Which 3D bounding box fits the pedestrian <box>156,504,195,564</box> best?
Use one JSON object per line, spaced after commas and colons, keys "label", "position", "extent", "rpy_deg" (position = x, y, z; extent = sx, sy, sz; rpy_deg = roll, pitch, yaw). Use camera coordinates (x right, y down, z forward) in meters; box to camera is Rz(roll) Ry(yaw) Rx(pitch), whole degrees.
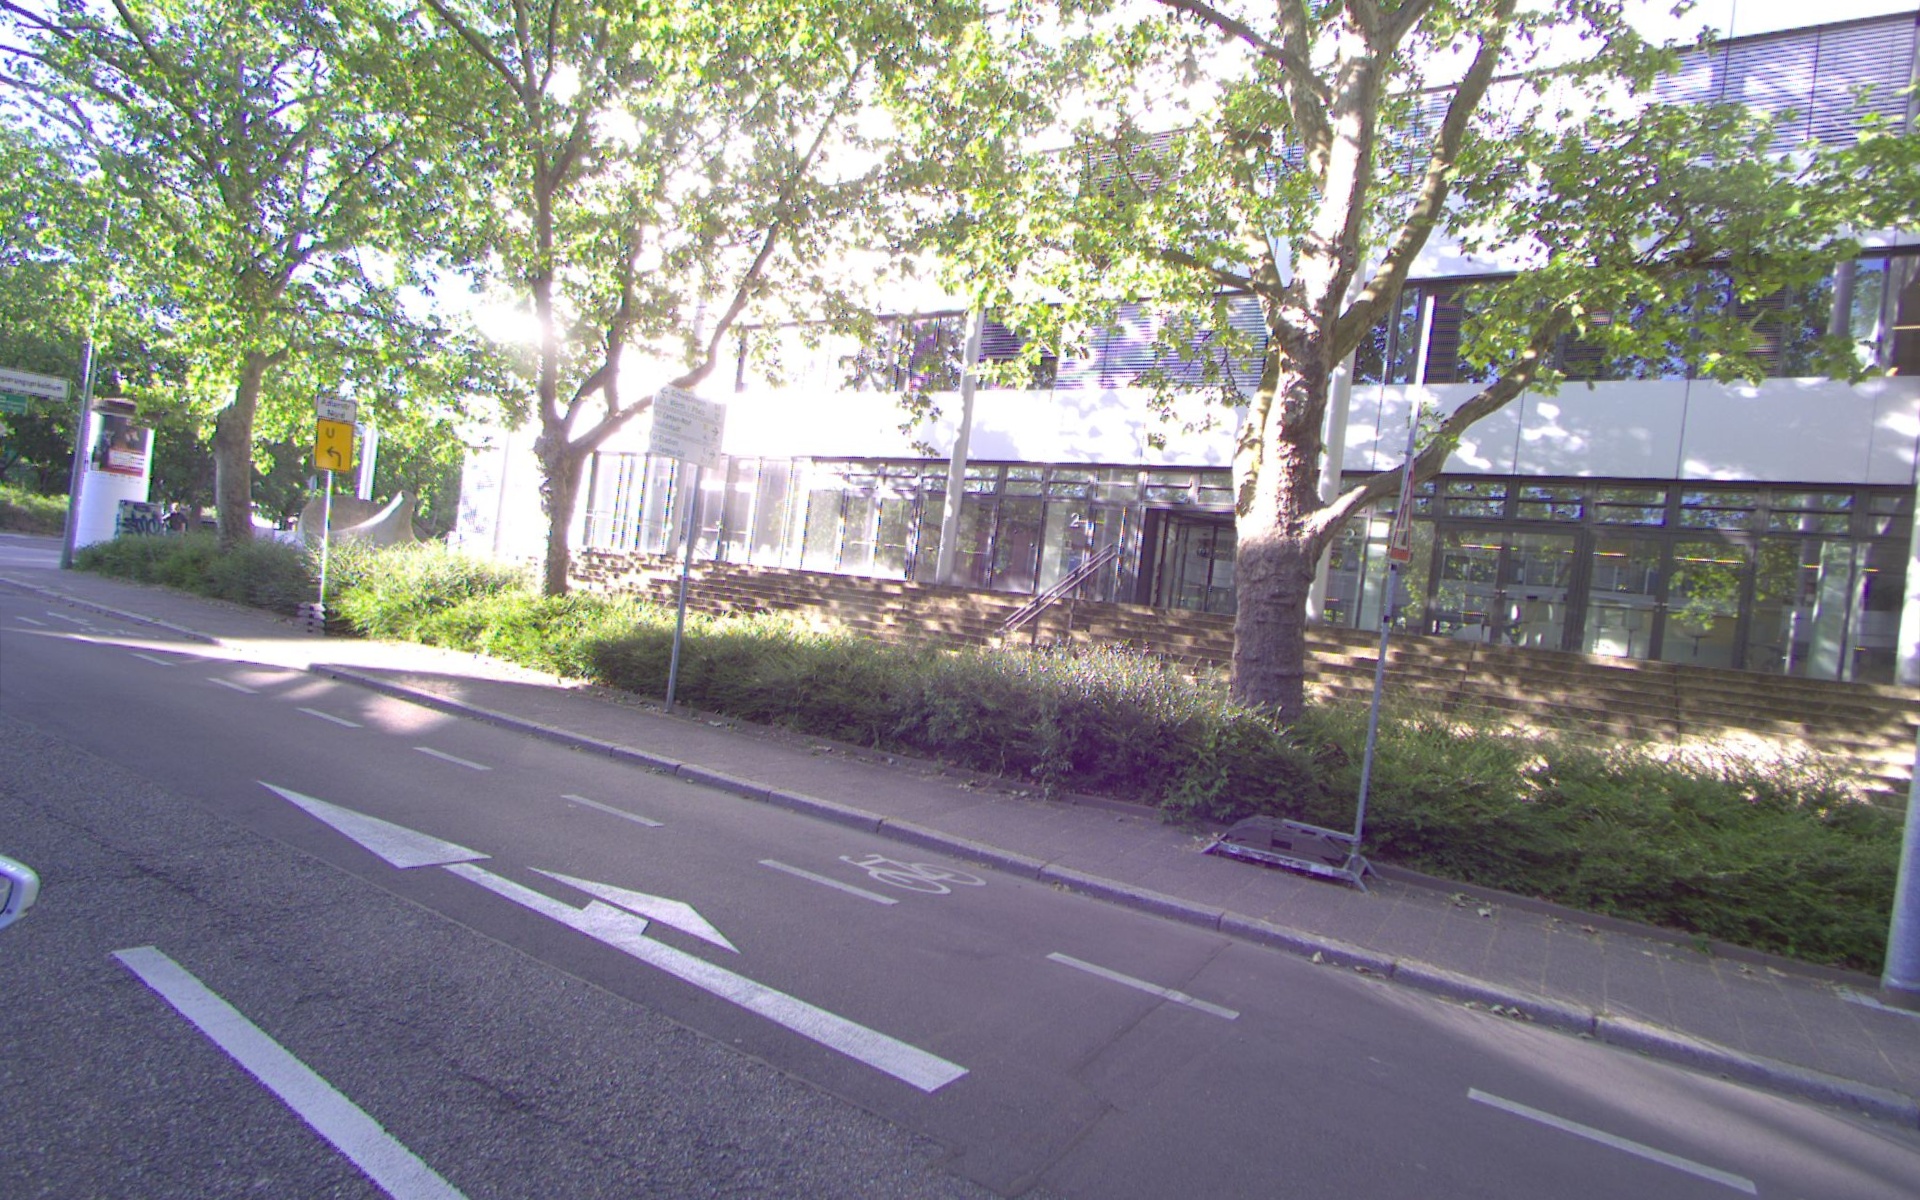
{"label": "pedestrian", "position": [-25.068, -2.114, 32.149], "extent": [0.720, 1.799, 0.734], "rpy_deg": [6, -1, 44]}
